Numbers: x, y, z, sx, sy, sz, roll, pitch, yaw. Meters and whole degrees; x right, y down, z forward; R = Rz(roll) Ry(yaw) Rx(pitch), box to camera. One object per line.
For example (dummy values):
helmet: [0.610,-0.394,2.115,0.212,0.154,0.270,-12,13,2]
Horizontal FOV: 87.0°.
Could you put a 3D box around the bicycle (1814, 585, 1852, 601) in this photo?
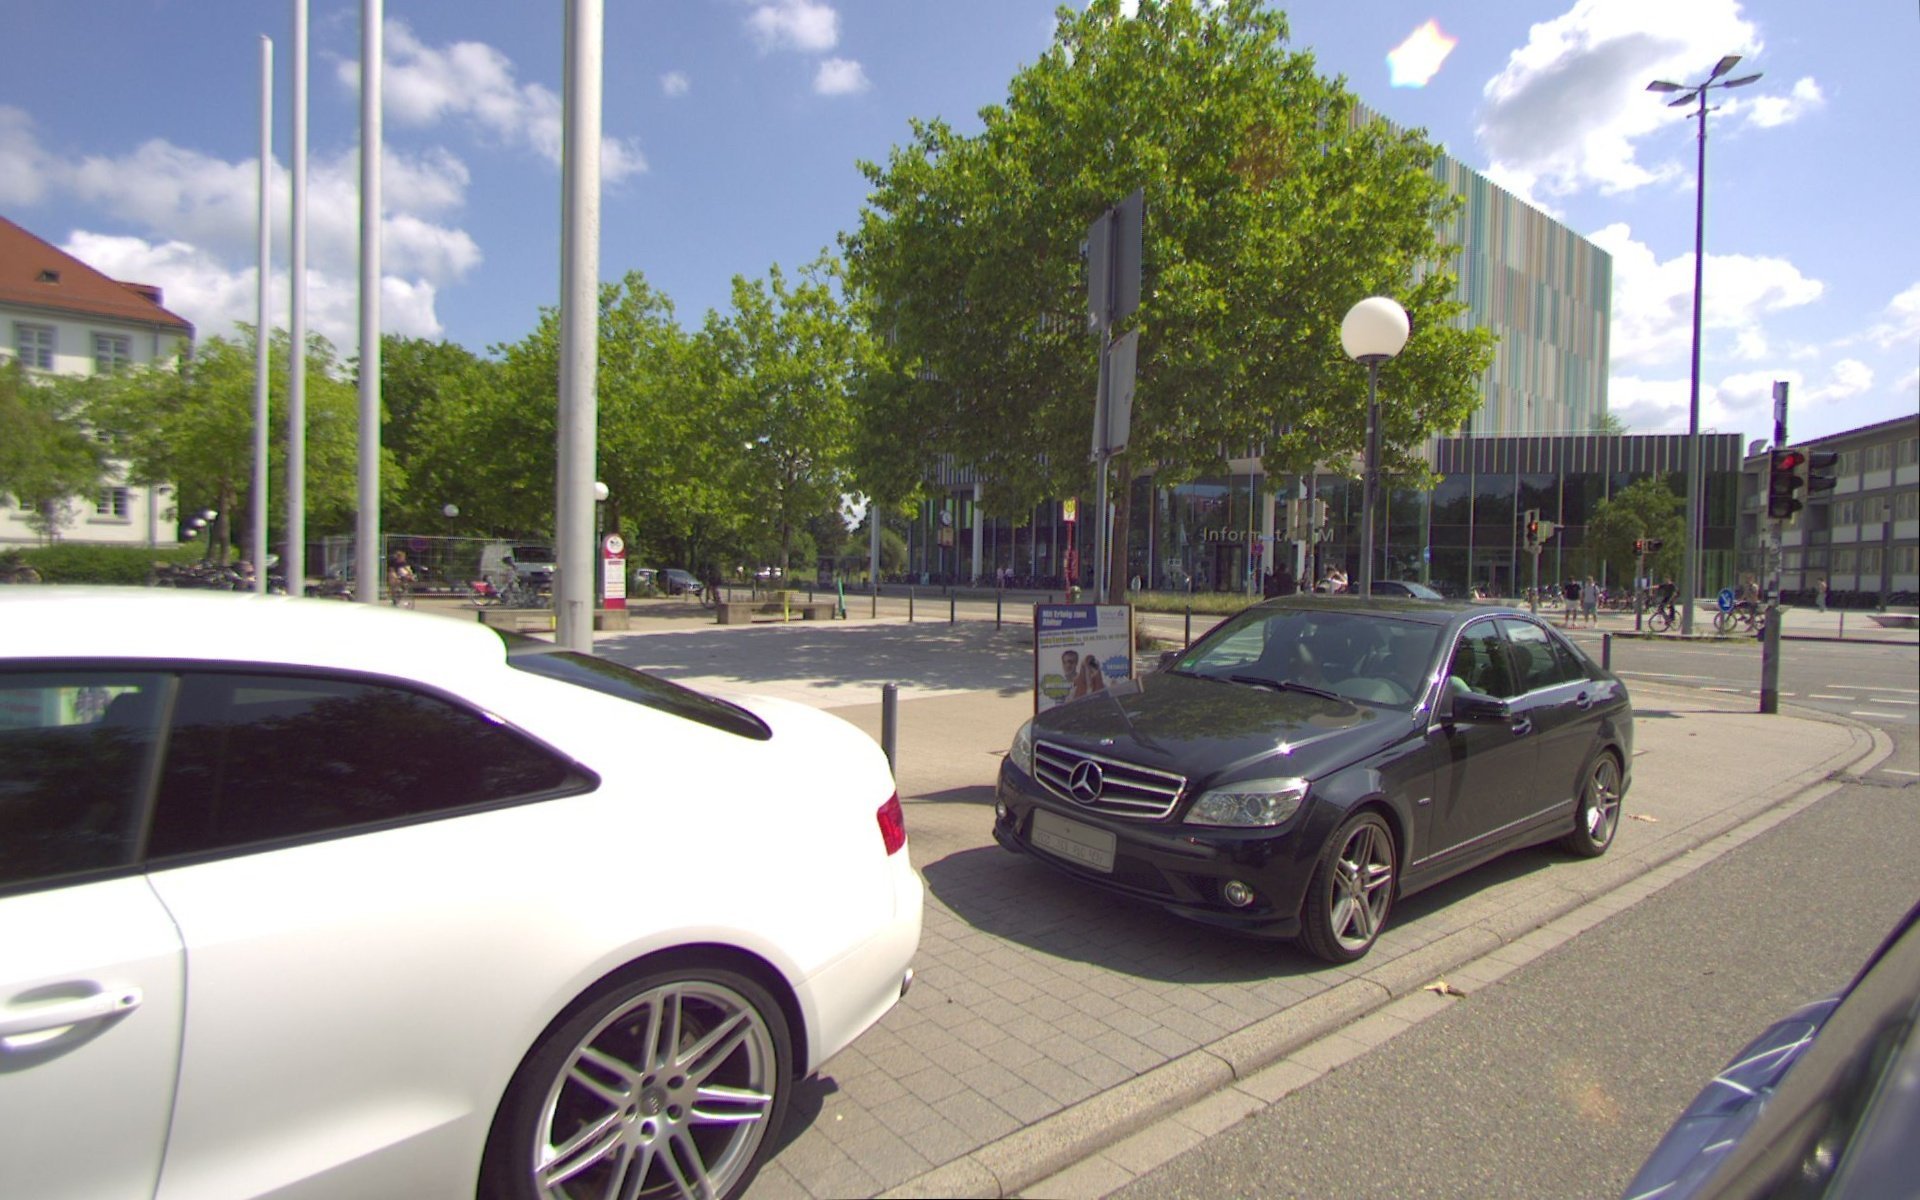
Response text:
bicycle: [56.500,-0.434,65.520,1.754,0.967,0.525,2,3,24]

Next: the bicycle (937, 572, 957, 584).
bicycle: [-1.039,-1.798,82.368,1.754,0.967,0.433,-3,3,-39]

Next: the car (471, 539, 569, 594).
car: [-16.108,-1.233,36.925,1.871,1.887,4.934,-1,3,-41]

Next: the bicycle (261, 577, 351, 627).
bicycle: [-15.090,0.022,23.391,0.596,1.112,1.756,0,1,20]

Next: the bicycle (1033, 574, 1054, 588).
bicycle: [6.024,-1.400,72.782,1.514,0.967,0.374,-2,2,-24]

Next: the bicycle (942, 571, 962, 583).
bicycle: [-0.625,-1.869,81.301,1.754,0.967,0.433,-3,3,-39]

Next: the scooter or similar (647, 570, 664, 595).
scooter or similar: [-14.578,-0.835,48.361,0.519,1.184,1.577,2,0,-25]

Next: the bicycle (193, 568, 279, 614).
bicycle: [-18.661,-0.256,26.114,0.596,1.112,1.757,0,3,20]

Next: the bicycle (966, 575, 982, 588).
bicycle: [1.062,-1.439,77.549,0.372,0.967,1.525,1,3,40]

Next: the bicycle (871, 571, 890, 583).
bicycle: [-6.969,-2.045,89.146,1.754,0.967,0.433,-3,3,-39]

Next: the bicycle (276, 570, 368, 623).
bicycle: [-14.401,-0.101,22.897,0.596,1.112,1.757,0,3,20]

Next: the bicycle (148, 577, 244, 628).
bicycle: [-17.669,0.038,23.453,0.596,1.112,1.756,0,1,20]

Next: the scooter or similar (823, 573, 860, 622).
scooter or similar: [-2.983,-0.078,25.370,0.347,1.179,1.192,-2,3,-38]

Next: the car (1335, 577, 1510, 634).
car: [12.930,0.088,28.520,1.795,1.433,4.194,-1,2,-32]

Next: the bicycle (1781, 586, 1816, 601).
bicycle: [58.084,-0.487,70.138,1.754,0.967,0.525,2,3,24]

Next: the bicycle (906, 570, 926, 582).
bicycle: [-3.717,-2.011,84.928,1.754,0.967,0.433,-3,3,-39]

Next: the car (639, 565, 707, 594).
car: [-15.835,-1.126,55.664,1.828,1.497,4.937,2,0,-38]

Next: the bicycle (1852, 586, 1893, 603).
bicycle: [55.686,-0.322,61.773,1.754,0.967,0.525,2,3,24]

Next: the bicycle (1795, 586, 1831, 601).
bicycle: [57.633,-0.463,68.366,1.754,0.967,0.525,2,3,24]

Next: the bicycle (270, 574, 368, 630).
bicycle: [-13.650,0.016,21.601,0.596,1.112,1.757,0,3,20]

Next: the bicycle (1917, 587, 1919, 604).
bicycle: [54.227,-0.226,55.996,1.754,0.967,0.525,2,3,24]

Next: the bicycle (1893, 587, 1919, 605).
bicycle: [54.914,-0.243,58.171,1.754,0.967,0.525,2,3,24]

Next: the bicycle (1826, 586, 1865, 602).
bicycle: [56.191,-0.385,64.250,1.754,0.967,0.525,2,3,24]

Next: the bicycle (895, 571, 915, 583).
bicycle: [-4.677,-1.936,86.341,1.754,0.967,0.433,-3,3,-39]

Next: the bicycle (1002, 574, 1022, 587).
bicycle: [3.870,-1.444,75.175,1.514,0.967,0.374,-2,2,-24]

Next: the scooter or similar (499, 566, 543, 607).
scooter or similar: [-13.539,-0.434,31.244,0.279,1.248,1.282,3,3,36]

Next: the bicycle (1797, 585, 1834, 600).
bicycle: [57.302,-0.514,67.795,1.754,0.967,0.525,2,3,24]

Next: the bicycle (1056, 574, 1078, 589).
bicycle: [7.513,-1.302,70.883,1.514,0.967,0.374,-2,2,-24]

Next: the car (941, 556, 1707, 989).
car: [2.346,0.545,5.629,4.860,1.417,1.723,0,4,-39]

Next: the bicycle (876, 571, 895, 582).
bicycle: [-6.531,-2.063,88.626,1.754,0.967,0.433,-3,3,-39]

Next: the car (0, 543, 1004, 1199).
car: [-2.131,0.622,1.938,4.359,1.416,1.723,0,4,-39]

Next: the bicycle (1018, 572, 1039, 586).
bicycle: [5.005,-1.540,73.548,1.514,0.967,0.374,-2,2,-24]

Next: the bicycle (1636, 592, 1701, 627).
bicycle: [24.004,0.319,34.323,1.652,1.138,0.690,1,1,24]

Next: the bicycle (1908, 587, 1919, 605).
bicycle: [54.590,-0.225,56.907,1.754,0.967,0.525,2,3,24]

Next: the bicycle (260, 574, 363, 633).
bicycle: [-13.253,0.042,20.733,0.596,1.112,1.757,0,3,20]

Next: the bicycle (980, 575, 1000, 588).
bicycle: [2.307,-1.393,77.513,1.514,0.967,0.374,-2,2,-24]

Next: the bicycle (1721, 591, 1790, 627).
bicycle: [26.381,0.285,33.594,1.655,1.138,0.689,1,1,27]

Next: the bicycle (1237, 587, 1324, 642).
bicycle: [6.998,0.325,22.061,1.855,1.086,0.818,4,0,-36]

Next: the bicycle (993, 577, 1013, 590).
bicycle: [3.263,-1.259,76.191,1.514,0.967,0.374,-2,2,-24]

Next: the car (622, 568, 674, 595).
car: [-18.670,-1.111,60.396,1.709,1.469,4.945,2,0,-32]

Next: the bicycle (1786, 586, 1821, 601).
bicycle: [58.255,-0.440,69.903,1.754,0.967,0.525,2,3,24]

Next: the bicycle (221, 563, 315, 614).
bicycle: [-15.835,-0.281,23.207,0.596,1.112,1.756,1,1,20]

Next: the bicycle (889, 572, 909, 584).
bicycle: [-5.236,-1.907,86.995,1.754,0.967,0.433,-3,3,-39]

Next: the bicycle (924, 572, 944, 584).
bicycle: [-2.116,-1.838,83.311,1.754,0.967,0.433,-3,3,-39]

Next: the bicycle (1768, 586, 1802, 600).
bicycle: [58.673,-0.513,71.961,1.754,0.967,0.525,2,3,24]

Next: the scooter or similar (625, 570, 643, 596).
scooter or similar: [-16.140,-0.818,50.084,0.519,1.262,1.290,2,0,-5]

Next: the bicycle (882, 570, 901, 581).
bicycle: [-5.916,-2.139,87.777,1.754,0.967,0.433,-3,3,-39]

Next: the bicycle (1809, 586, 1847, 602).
bicycle: [56.889,-0.415,66.320,1.754,0.967,0.525,2,3,24]
